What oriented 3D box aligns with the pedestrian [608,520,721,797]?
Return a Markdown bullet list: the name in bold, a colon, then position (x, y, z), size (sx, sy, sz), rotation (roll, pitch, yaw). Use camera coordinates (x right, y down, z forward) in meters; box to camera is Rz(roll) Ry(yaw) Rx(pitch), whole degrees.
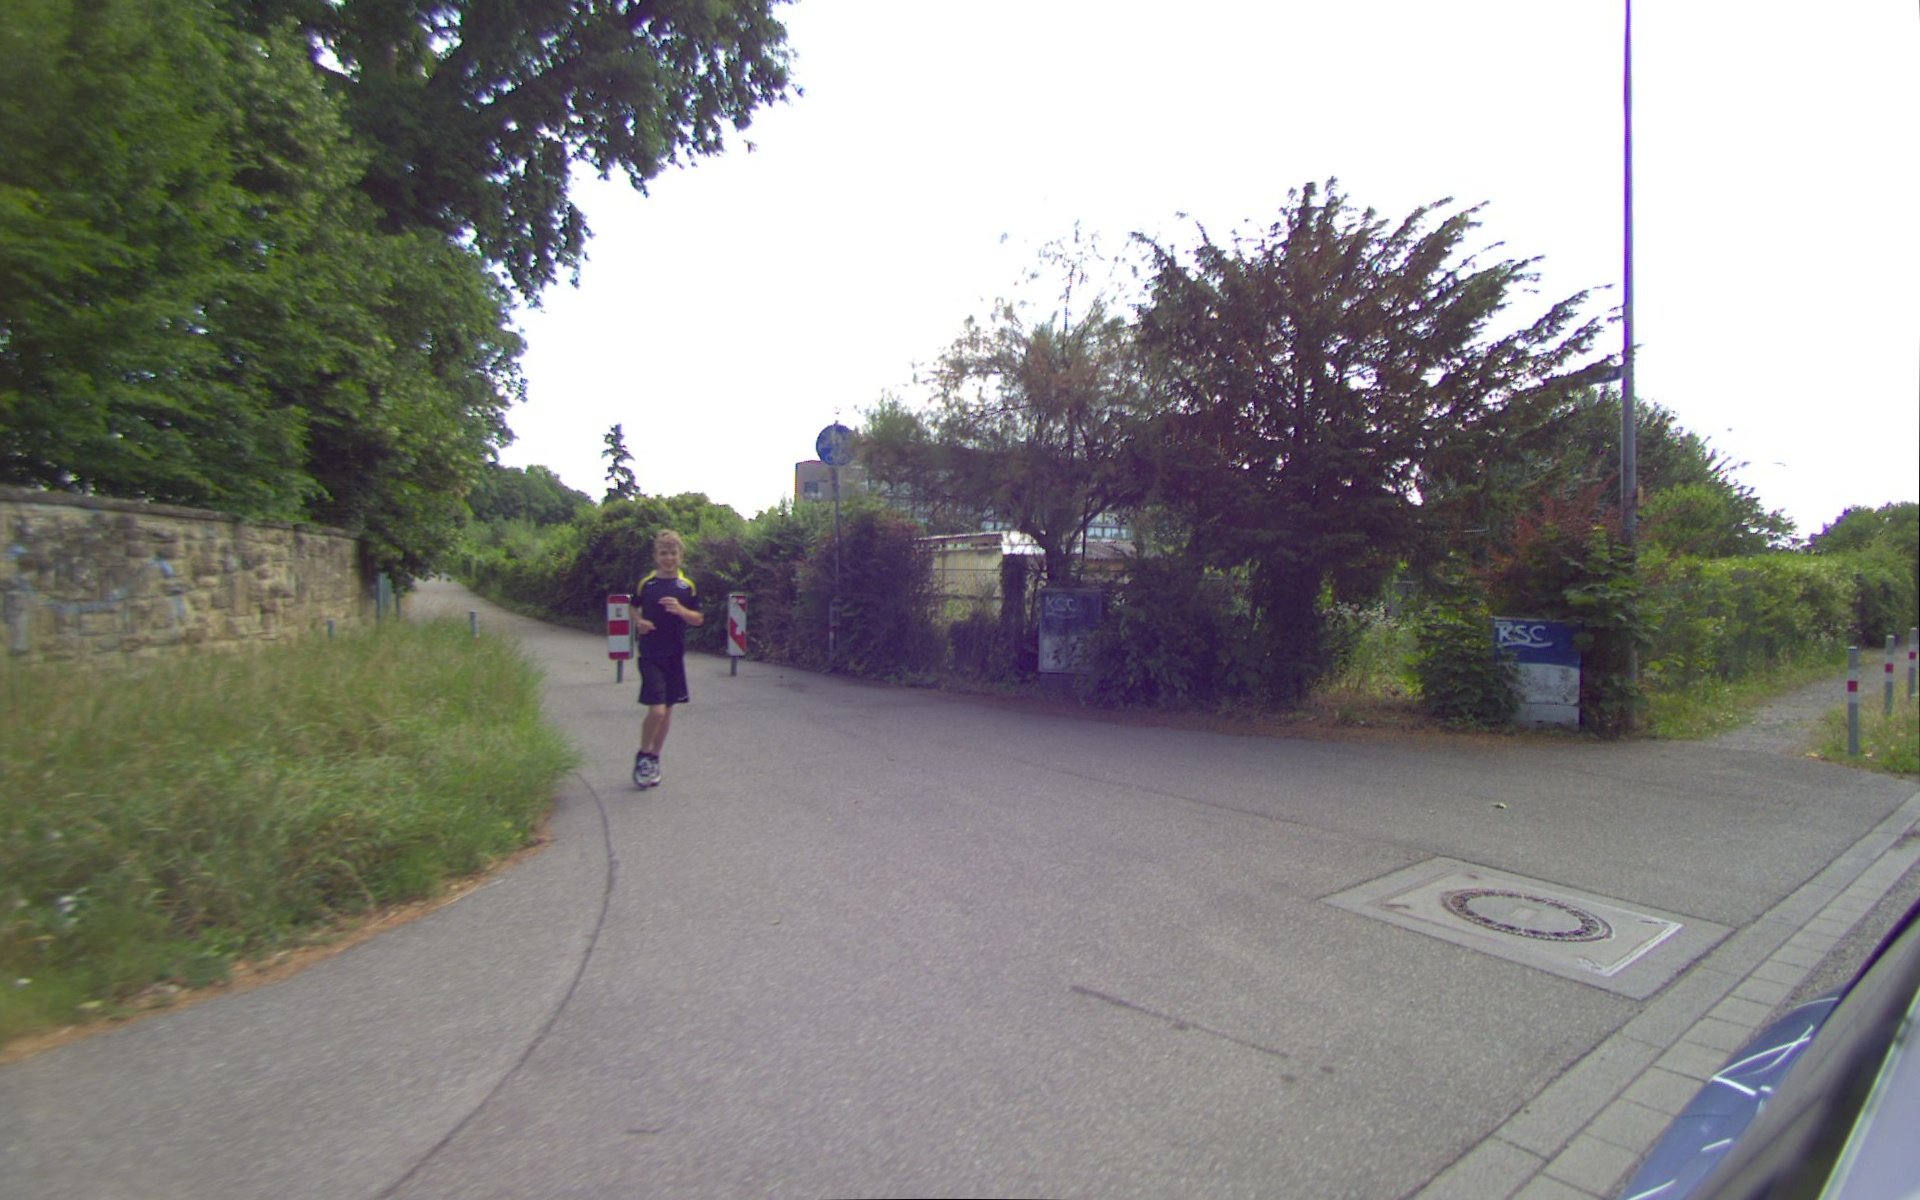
- **pedestrian**: position (-1.946, 0.340, 6.614), size (0.612, 1.671, 0.835), rotation (0, 2, -23)
